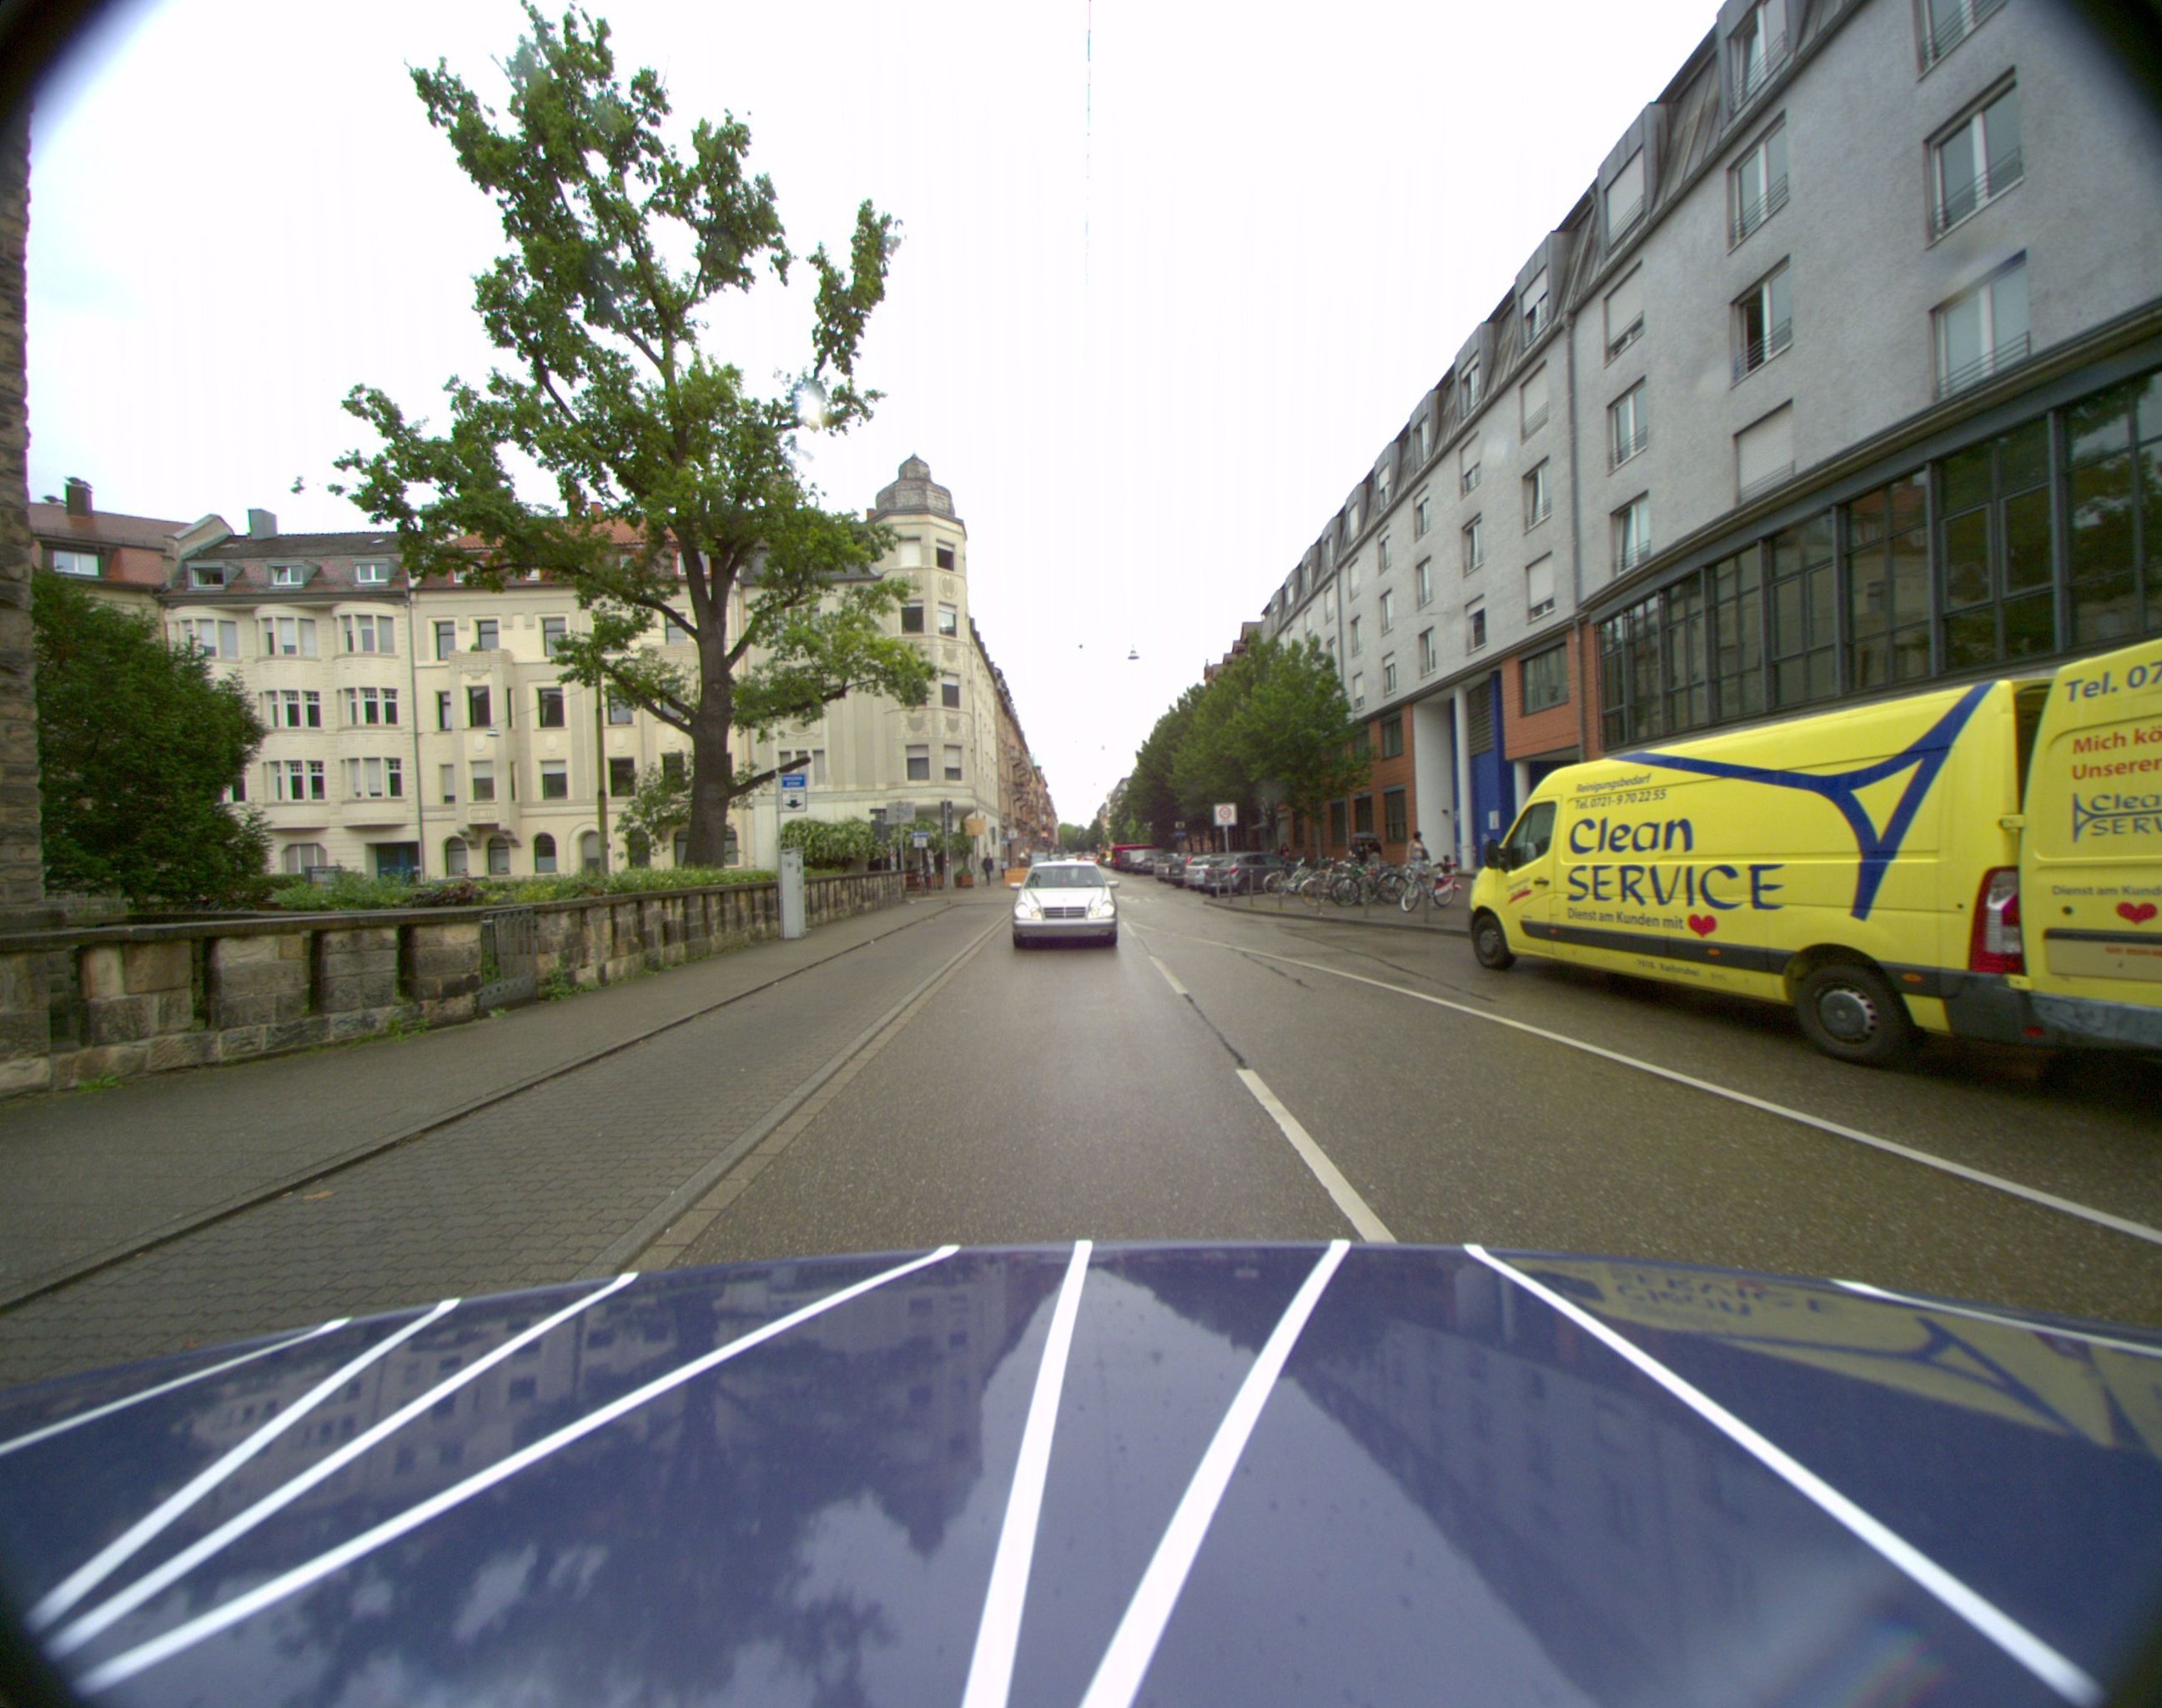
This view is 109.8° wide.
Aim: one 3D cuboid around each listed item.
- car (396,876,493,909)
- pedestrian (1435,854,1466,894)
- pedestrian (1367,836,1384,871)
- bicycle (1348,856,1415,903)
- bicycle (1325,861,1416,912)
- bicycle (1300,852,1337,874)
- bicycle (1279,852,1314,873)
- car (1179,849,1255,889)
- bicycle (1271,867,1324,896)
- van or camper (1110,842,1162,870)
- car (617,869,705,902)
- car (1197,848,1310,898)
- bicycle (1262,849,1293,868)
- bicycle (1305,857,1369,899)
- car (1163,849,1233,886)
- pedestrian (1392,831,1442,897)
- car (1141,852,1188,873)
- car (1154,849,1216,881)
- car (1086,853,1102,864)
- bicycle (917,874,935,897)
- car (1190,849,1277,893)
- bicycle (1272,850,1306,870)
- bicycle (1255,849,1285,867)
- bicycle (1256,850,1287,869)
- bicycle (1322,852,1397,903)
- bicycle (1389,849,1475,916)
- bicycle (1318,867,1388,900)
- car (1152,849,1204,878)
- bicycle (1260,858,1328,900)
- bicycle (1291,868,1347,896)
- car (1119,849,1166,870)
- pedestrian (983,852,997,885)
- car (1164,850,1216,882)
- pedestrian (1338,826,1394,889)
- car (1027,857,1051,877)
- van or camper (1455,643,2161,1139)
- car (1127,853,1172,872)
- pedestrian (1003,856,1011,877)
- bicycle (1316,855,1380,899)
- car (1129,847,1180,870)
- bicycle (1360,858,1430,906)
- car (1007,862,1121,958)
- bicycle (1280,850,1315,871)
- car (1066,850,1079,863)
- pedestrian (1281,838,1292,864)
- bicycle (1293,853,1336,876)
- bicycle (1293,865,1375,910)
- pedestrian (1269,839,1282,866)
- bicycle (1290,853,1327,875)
[{"bbox_3d":[-29.190,1.749,34.905,3.270,1.401,1.448,-1,0,3],"label":"car"},{"bbox_3d":[10.168,0.538,20.931,0.485,1.044,0.528,-6,0,-1],"label":"pedestrian"},{"bbox_3d":[12.988,-0.014,33.487,0.516,1.521,0.548,-1,1,-3],"label":"pedestrian"},{"bbox_3d":[7.547,0.645,19.127,1.461,1.096,0.462,-3,1,14],"label":"bicycle"},{"bbox_3d":[6.780,0.762,17.854,1.858,1.067,0.609,-3,1,6],"label":"bicycle"},{"bbox_3d":[11.264,0.441,36.072,1.590,0.978,0.445,-2,1,-8],"label":"bicycle"},{"bbox_3d":[10.639,0.434,37.447,1.590,0.978,0.445,-2,1,-8],"label":"bicycle"},{"bbox_3d":[5.746,0.637,32.042,3.084,1.494,1.449,-3,0,-40],"label":"car"},{"bbox_3d":[6.664,0.847,23.404,1.473,0.800,0.497,-4,1,3],"label":"bicycle"},{"bbox_3d":[5.393,0.149,74.065,4.603,2.597,1.999,-1,0,-27],"label":"van or camper"},{"bbox_3d":[-19.538,1.443,35.426,3.270,1.401,1.448,-1,0,3],"label":"car"},{"bbox_3d":[6.032,0.620,26.505,3.628,1.494,1.736,-3,1,-31],"label":"car"},{"bbox_3d":[10.989,0.246,42.400,1.590,0.978,0.465,-2,1,-8],"label":"bicycle"},{"bbox_3d":[7.364,0.679,21.887,1.610,1.099,0.520,-3,1,-4],"label":"bicycle"},{"bbox_3d":[5.400,0.606,34.929,3.084,1.543,1.449,-3,0,-40],"label":"car"},{"bbox_3d":[9.199,0.272,20.835,0.827,1.697,0.859,-6,0,1],"label":"pedestrian"},{"bbox_3d":[6.410,0.620,57.859,1.685,1.481,3.799,-1,0,40],"label":"car"},{"bbox_3d":[5.550,0.598,40.669,2.985,1.546,1.370,-3,0,-29],"label":"car"},{"bbox_3d":[1.530,0.569,91.359,1.651,1.301,3.311,-1,0,-2],"label":"car"},{"bbox_3d":[-7.146,1.437,35.188,0.390,0.888,2.023,-2,2,0],"label":"bicycle"},{"bbox_3d":[5.923,0.632,29.432,3.083,1.494,1.449,-3,0,-31],"label":"car"},{"bbox_3d":[10.741,0.295,39.231,1.590,0.978,0.465,-2,1,-8],"label":"bicycle"},{"bbox_3d":[10.846,0.232,43.535,1.590,0.978,0.465,-2,1,-8],"label":"bicycle"},{"bbox_3d":[10.399,0.275,41.508,1.590,0.978,0.465,-2,1,-8],"label":"bicycle"},{"bbox_3d":[7.336,0.606,19.988,1.815,1.187,0.519,-3,1,-13],"label":"bicycle"},{"bbox_3d":[7.623,0.588,16.483,1.922,1.209,0.768,-6,3,-35],"label":"bicycle"},{"bbox_3d":[7.363,0.799,20.580,1.773,0.757,0.456,-3,1,-13],"label":"bicycle"},{"bbox_3d":[5.534,0.540,43.426,2.685,1.546,1.148,-3,0,-29],"label":"car"},{"bbox_3d":[6.257,0.728,22.350,1.812,1.099,0.472,-4,1,-4],"label":"bicycle"},{"bbox_3d":[7.137,0.840,22.825,1.473,0.717,0.497,-4,1,3],"label":"bicycle"},{"bbox_3d":[5.523,0.473,68.124,4.338,1.822,1.571,-1,0,-41],"label":"car"},{"bbox_3d":[-5.205,0.817,43.547,0.646,1.862,0.693,-1,1,0],"label":"pedestrian"},{"bbox_3d":[5.489,0.611,38.161,2.506,1.442,1.191,-3,0,-40],"label":"car"},{"bbox_3d":[9.229,0.116,24.649,1.228,1.870,1.055,-6,1,0],"label":"pedestrian"},{"bbox_3d":[-2.954,0.884,53.881,1.447,1.348,3.204,-1,0,0],"label":"car"},{"bbox_3d":[6.050,0.178,6.989,2.201,2.596,5.941,-1,0,-1],"label":"van or camper"},{"bbox_3d":[5.485,0.665,60.380,1.685,1.481,3.799,-1,0,40],"label":"car"},{"bbox_3d":[-5.124,0.883,52.480,0.482,1.452,0.392,-1,1,0],"label":"pedestrian"},{"bbox_3d":[7.462,0.632,21.235,1.611,1.099,0.519,-3,1,-13],"label":"bicycle"},{"bbox_3d":[6.289,0.353,64.677,4.338,1.884,1.685,-1,0,-41],"label":"car"},{"bbox_3d":[7.574,0.668,18.354,1.462,1.058,0.418,-3,1,4],"label":"bicycle"},{"bbox_3d":[-0.262,0.908,14.028,1.764,1.420,4.000,-2,0,0],"label":"car"},{"bbox_3d":[10.852,0.308,38.065,1.590,0.978,0.445,-2,1,-8],"label":"bicycle"},{"bbox_3d":[-1.366,0.333,121.907,1.998,2.002,4.000,-2,0,1],"label":"car"},{"bbox_3d":[12.613,-0.170,46.567,0.514,1.601,0.425,-2,1,1],"label":"pedestrian"},{"bbox_3d":[10.763,0.466,35.057,1.851,0.978,0.445,-2,1,-8],"label":"bicycle"},{"bbox_3d":[6.206,0.814,18.695,1.800,0.987,0.520,-3,1,-2],"label":"bicycle"},{"bbox_3d":[11.971,-0.086,46.763,0.605,1.601,0.372,-2,1,-1],"label":"pedestrian"},{"bbox_3d":[10.637,0.463,35.531,1.590,0.978,0.445,-2,1,-8],"label":"bicycle"}]
